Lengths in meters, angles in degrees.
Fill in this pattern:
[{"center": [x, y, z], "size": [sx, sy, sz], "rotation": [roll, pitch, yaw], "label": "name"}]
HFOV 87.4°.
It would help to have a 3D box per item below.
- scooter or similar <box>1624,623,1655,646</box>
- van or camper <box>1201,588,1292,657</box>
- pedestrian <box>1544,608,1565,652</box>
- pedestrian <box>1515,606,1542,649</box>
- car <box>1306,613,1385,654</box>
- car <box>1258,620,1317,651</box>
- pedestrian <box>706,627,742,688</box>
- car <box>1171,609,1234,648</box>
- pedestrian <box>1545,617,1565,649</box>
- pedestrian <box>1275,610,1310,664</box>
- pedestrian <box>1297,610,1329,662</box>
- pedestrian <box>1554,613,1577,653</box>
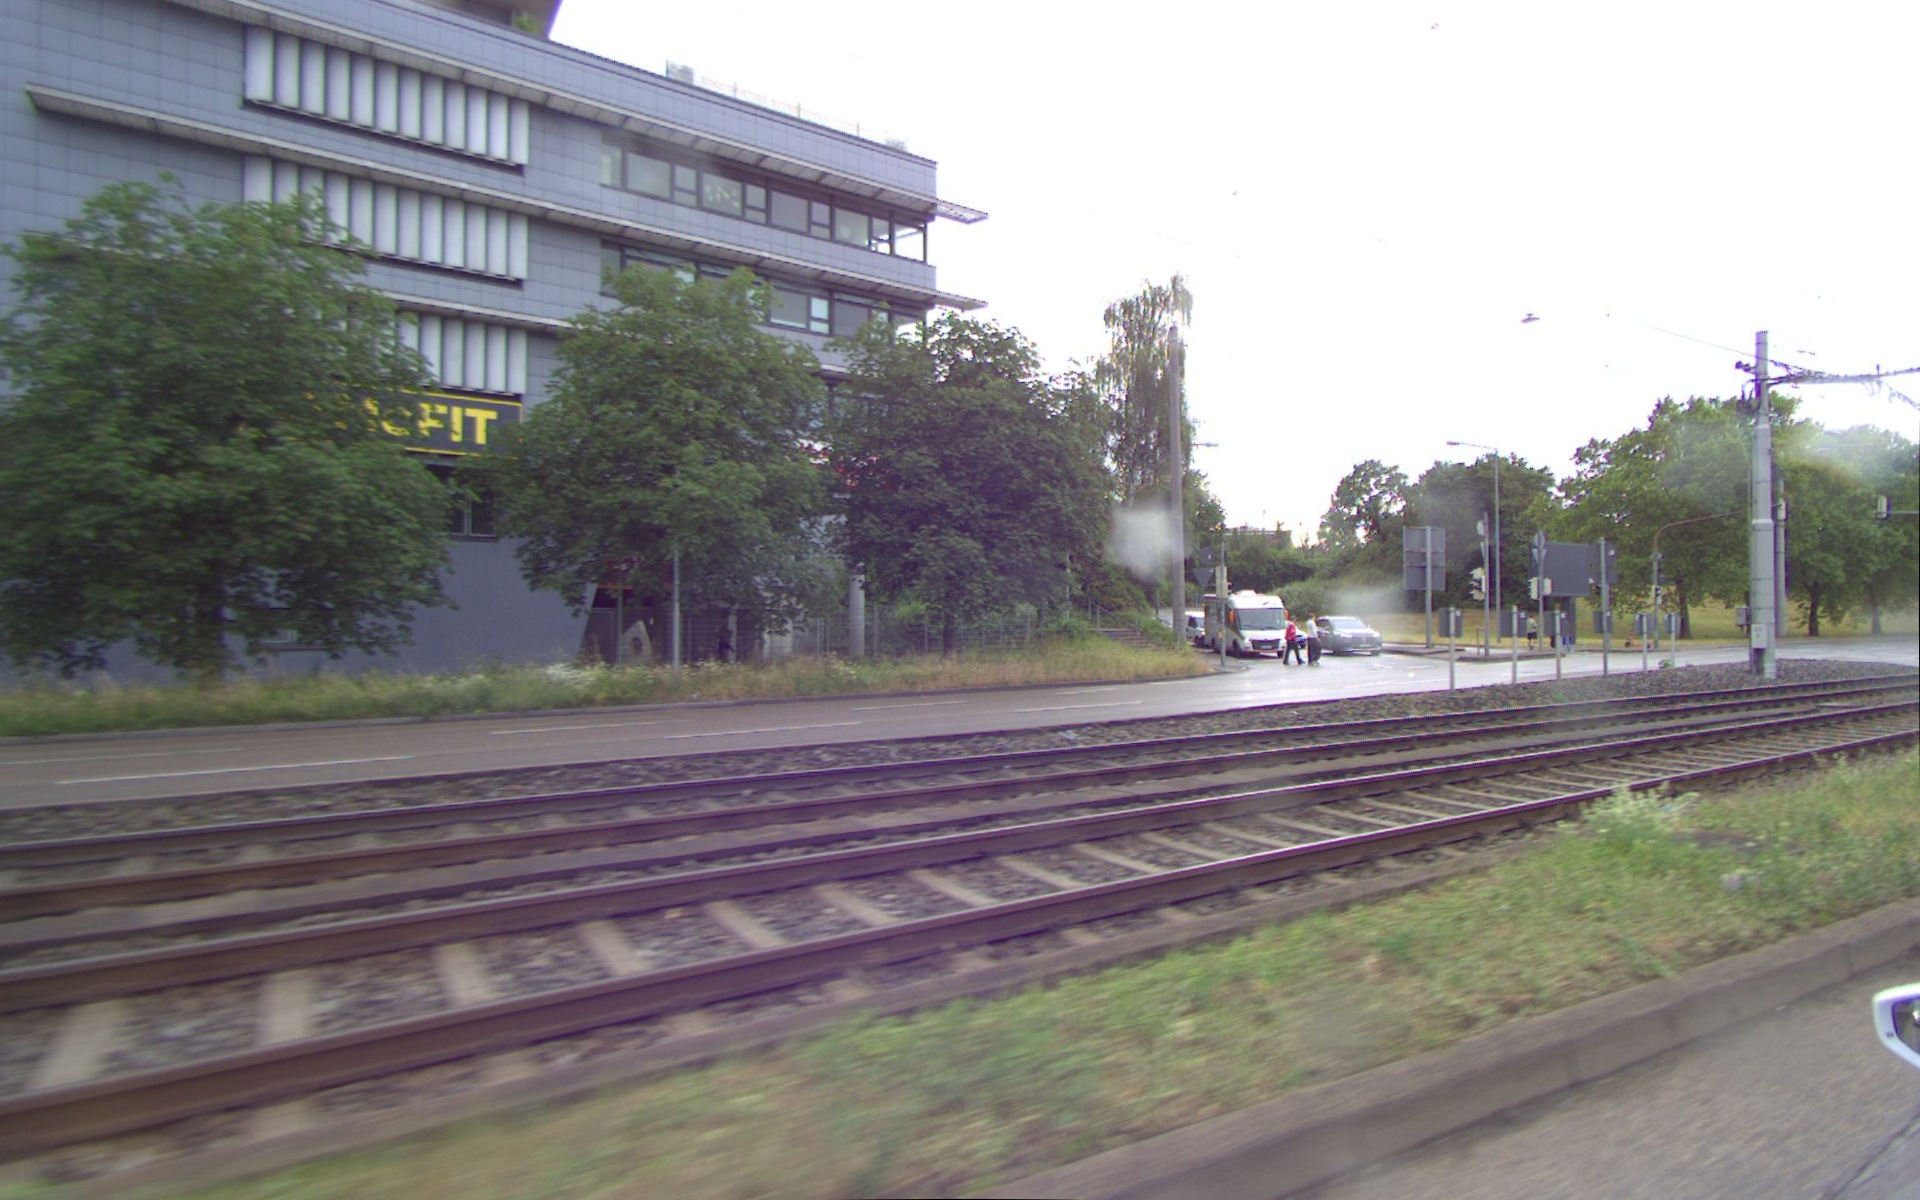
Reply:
[{"center": [34.675, 1.772, 51.286], "size": [1.254, 1.177, 0.380], "rotation": [-1, -1, 13], "label": "scooter or similar"}, {"center": [13.356, 1.017, 47.439], "size": [2.441, 3.006, 7.377], "rotation": [0, 0, 2], "label": "van or camper"}, {"center": [27.332, 1.381, 46.170], "size": [0.713, 1.982, 0.493], "rotation": [1, 1, -29], "label": "pedestrian"}, {"center": [27.404, 1.305, 48.417], "size": [0.858, 2.040, 0.880], "rotation": [1, -1, -37], "label": "pedestrian"}, {"center": [17.613, 1.481, 46.125], "size": [1.960, 1.755, 4.632], "rotation": [0, 0, 1], "label": "car"}, {"center": [17.655, 1.882, 54.277], "size": [1.804, 1.586, 3.999], "rotation": [0, -1, -1], "label": "car"}, {"center": [-7.050, 1.703, 30.041], "size": [0.867, 1.779, 0.721], "rotation": [1, 1, -30], "label": "pedestrian"}, {"center": [13.377, 1.531, 55.665], "size": [1.963, 2.040, 4.521], "rotation": [0, -1, -6], "label": "car"}, {"center": [28.527, 1.579, 48.136], "size": [0.713, 1.493, 0.493], "rotation": [1, 1, -31], "label": "pedestrian"}, {"center": [12.681, 1.389, 38.293], "size": [0.932, 2.040, 0.884], "rotation": [0, -1, -24], "label": "pedestrian"}, {"center": [13.204, 1.337, 37.531], "size": [0.940, 1.892, 0.632], "rotation": [0, -1, -24], "label": "pedestrian"}, {"center": [27.527, 1.491, 45.689], "size": [0.821, 1.811, 0.504], "rotation": [1, 1, -28], "label": "pedestrian"}]
